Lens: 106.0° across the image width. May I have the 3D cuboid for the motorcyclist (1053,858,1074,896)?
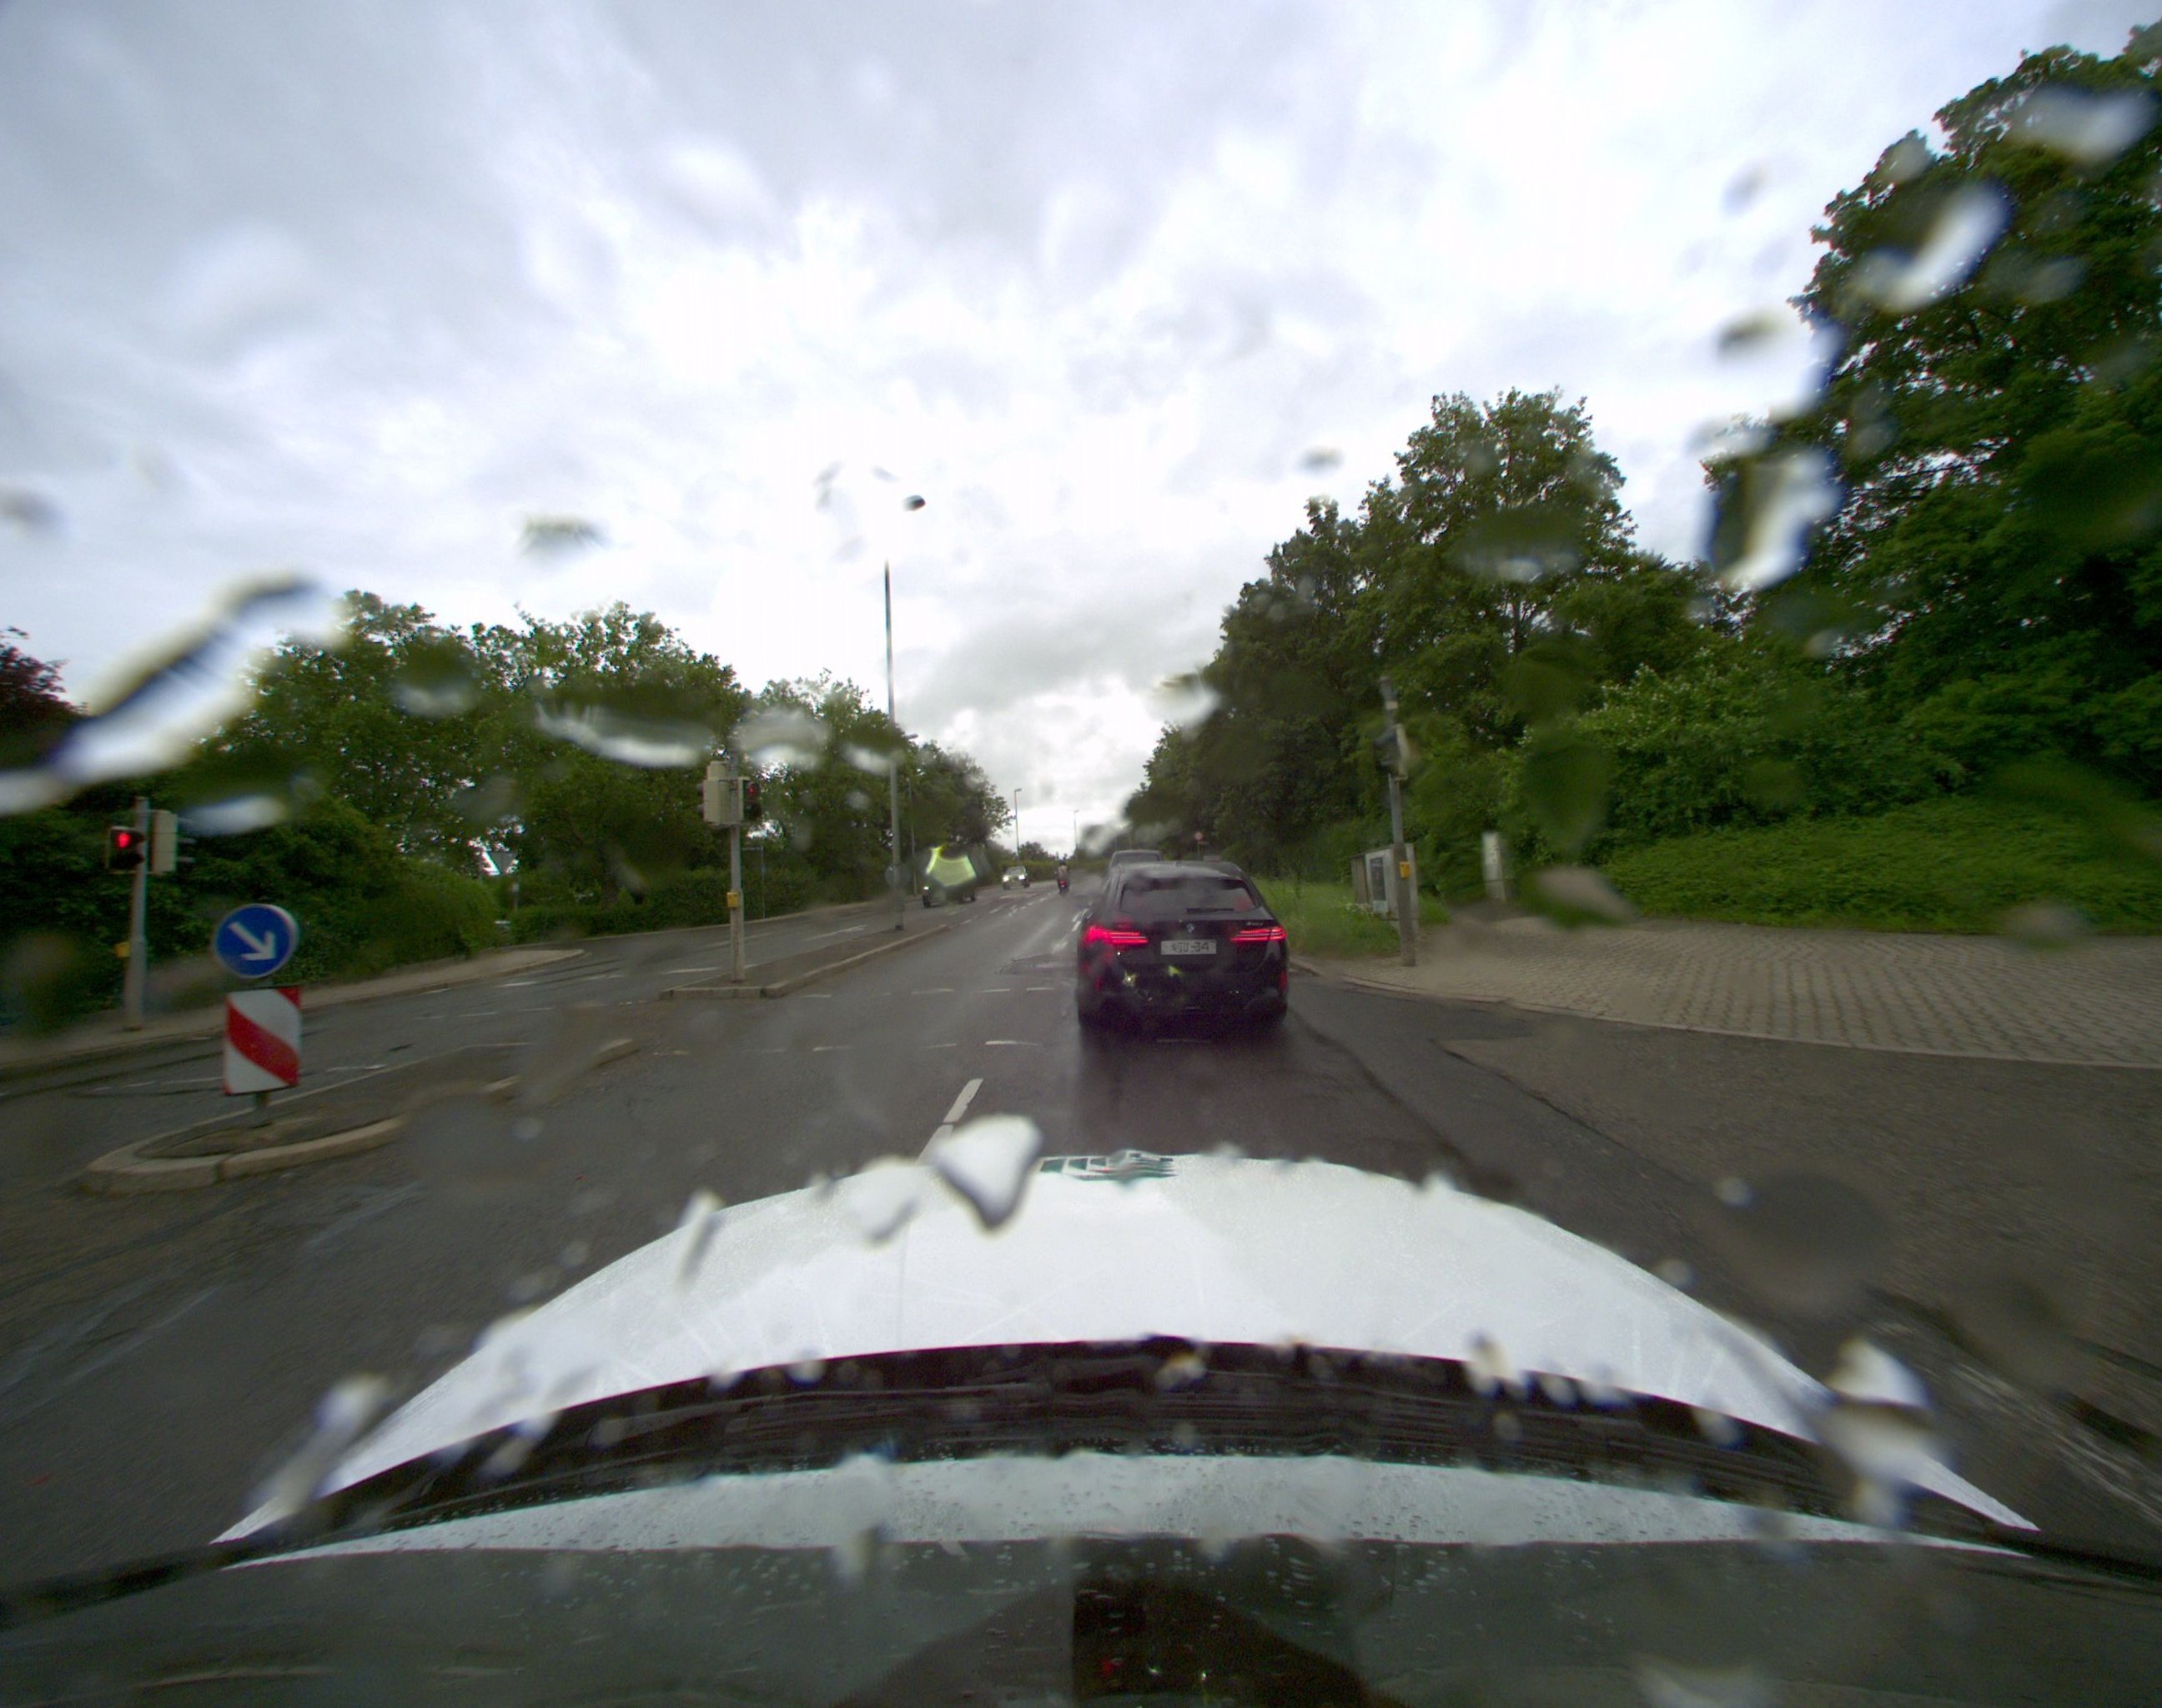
[{"bbox_3d":[-0.791,1.047,36.798,0.842,1.647,0.468,-3,0,3],"label":"motorcyclist"}]

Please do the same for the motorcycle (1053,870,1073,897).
[{"bbox_3d":[-0.813,1.320,36.775,0.738,1.119,1.428,-2,0,3],"label":"motorcycle"}]

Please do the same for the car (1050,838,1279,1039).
[{"bbox_3d":[0.773,0.690,8.350,1.757,1.536,3.676,-2,0,3],"label":"car"}]

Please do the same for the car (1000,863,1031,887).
[{"bbox_3d":[-4.830,1.548,60.431,1.788,1.603,3.733,-5,-1,1],"label":"car"}]

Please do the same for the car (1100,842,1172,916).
[{"bbox_3d":[1.529,0.615,22.766,1.759,1.810,3.909,-2,1,3],"label":"car"}]

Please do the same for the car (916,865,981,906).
[{"bbox_3d":[-5.856,1.357,36.446,2.017,1.563,3.879,-5,-1,2],"label":"car"}]
